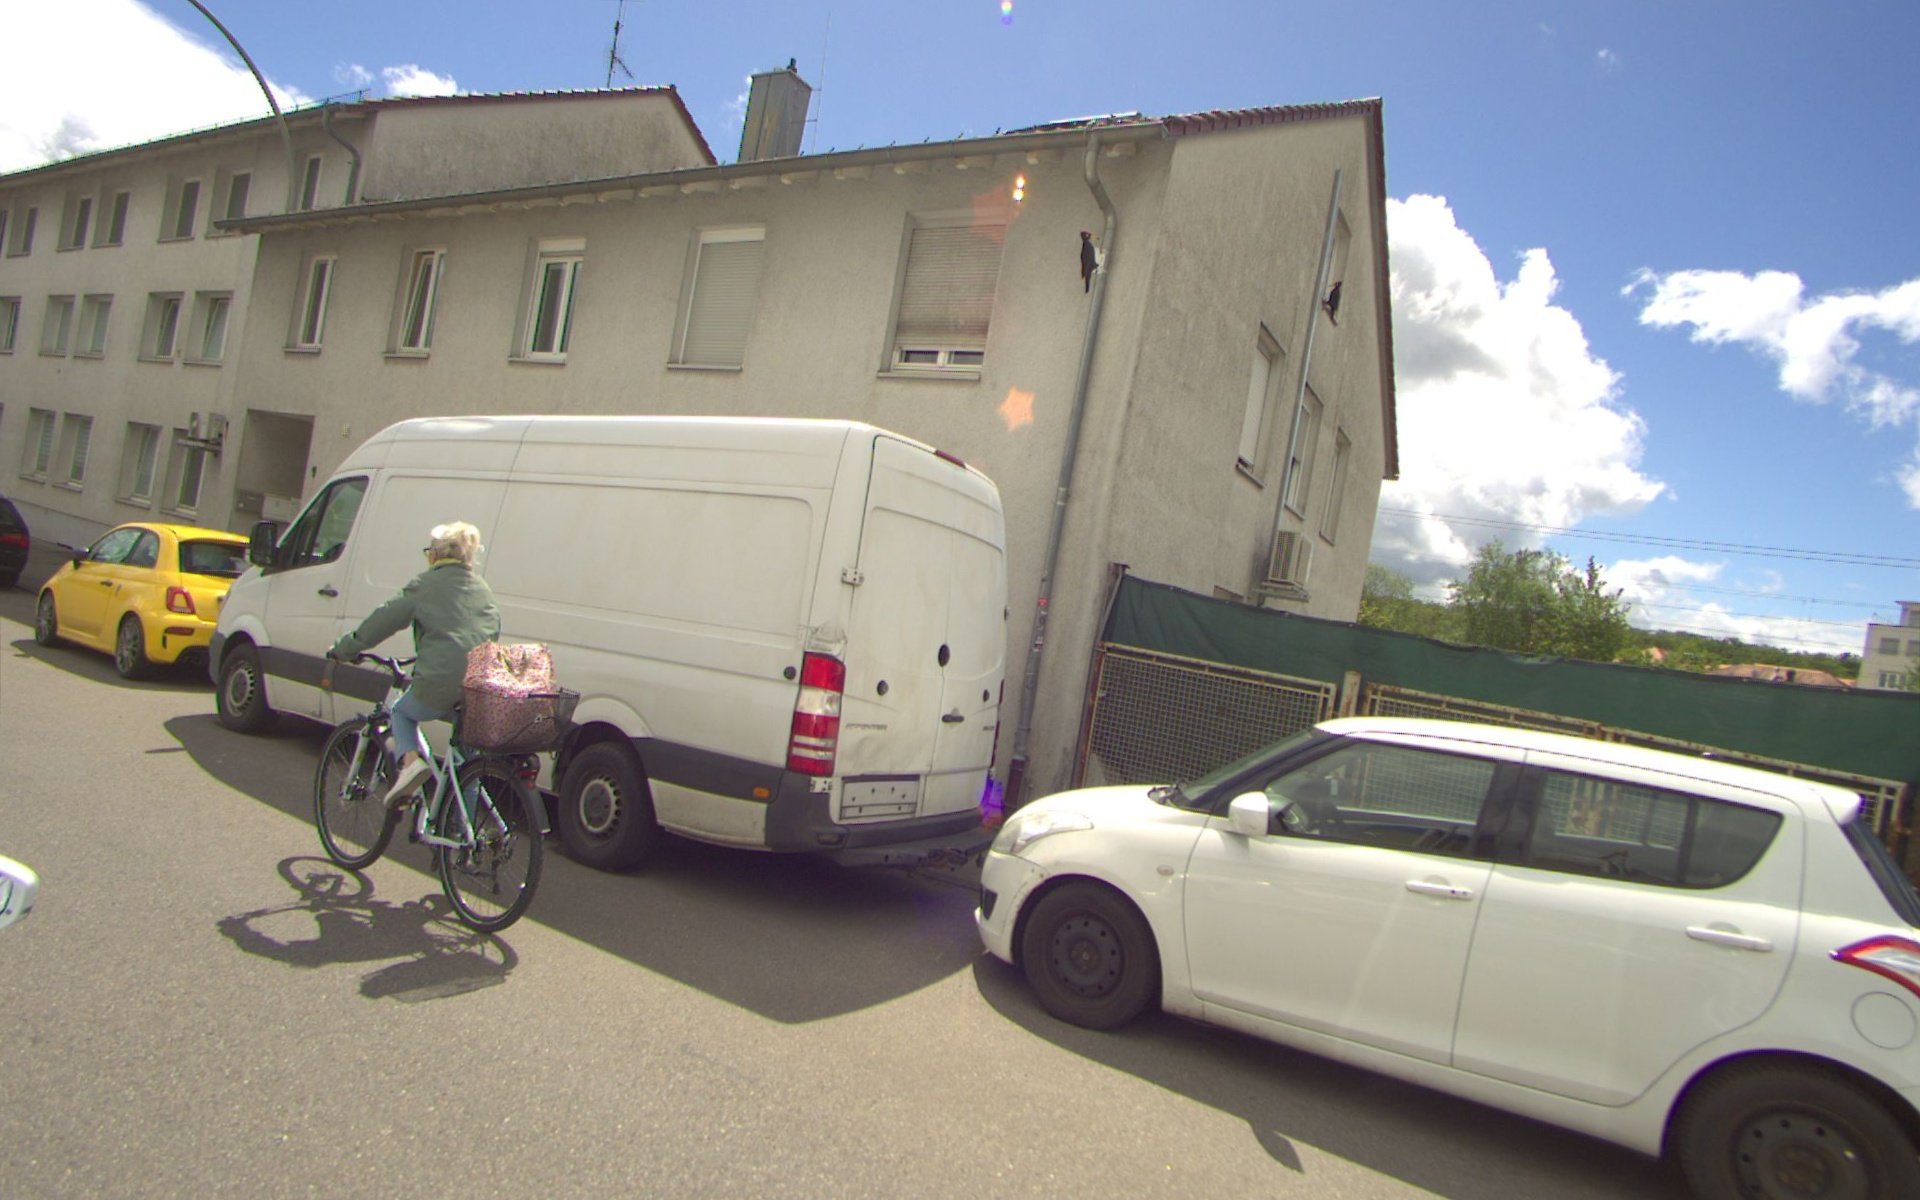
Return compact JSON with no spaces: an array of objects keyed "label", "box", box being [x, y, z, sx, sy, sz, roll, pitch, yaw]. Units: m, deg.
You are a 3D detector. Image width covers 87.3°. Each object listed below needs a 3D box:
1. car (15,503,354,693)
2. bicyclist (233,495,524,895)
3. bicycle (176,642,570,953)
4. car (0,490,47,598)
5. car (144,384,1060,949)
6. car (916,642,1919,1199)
[{"label":"car","box":[-8.342,-0.057,10.743,3.728,1.464,1.595,8,-1,33]},{"label":"bicyclist","box":[-2.687,0.411,4.687,0.719,1.645,0.741,7,-1,29]},{"label":"bicycle","box":[-2.760,0.831,4.696,1.703,0.986,0.742,8,-1,30]},{"label":"car","box":[-16.724,-1.239,16.032,5.001,1.526,1.710,9,-2,31]},{"label":"car","box":[-3.076,0.078,7.442,7.161,2.672,2.038,6,-2,31]},{"label":"car","box":[1.875,1.208,4.368,3.726,1.527,1.596,6,-2,31]}]
